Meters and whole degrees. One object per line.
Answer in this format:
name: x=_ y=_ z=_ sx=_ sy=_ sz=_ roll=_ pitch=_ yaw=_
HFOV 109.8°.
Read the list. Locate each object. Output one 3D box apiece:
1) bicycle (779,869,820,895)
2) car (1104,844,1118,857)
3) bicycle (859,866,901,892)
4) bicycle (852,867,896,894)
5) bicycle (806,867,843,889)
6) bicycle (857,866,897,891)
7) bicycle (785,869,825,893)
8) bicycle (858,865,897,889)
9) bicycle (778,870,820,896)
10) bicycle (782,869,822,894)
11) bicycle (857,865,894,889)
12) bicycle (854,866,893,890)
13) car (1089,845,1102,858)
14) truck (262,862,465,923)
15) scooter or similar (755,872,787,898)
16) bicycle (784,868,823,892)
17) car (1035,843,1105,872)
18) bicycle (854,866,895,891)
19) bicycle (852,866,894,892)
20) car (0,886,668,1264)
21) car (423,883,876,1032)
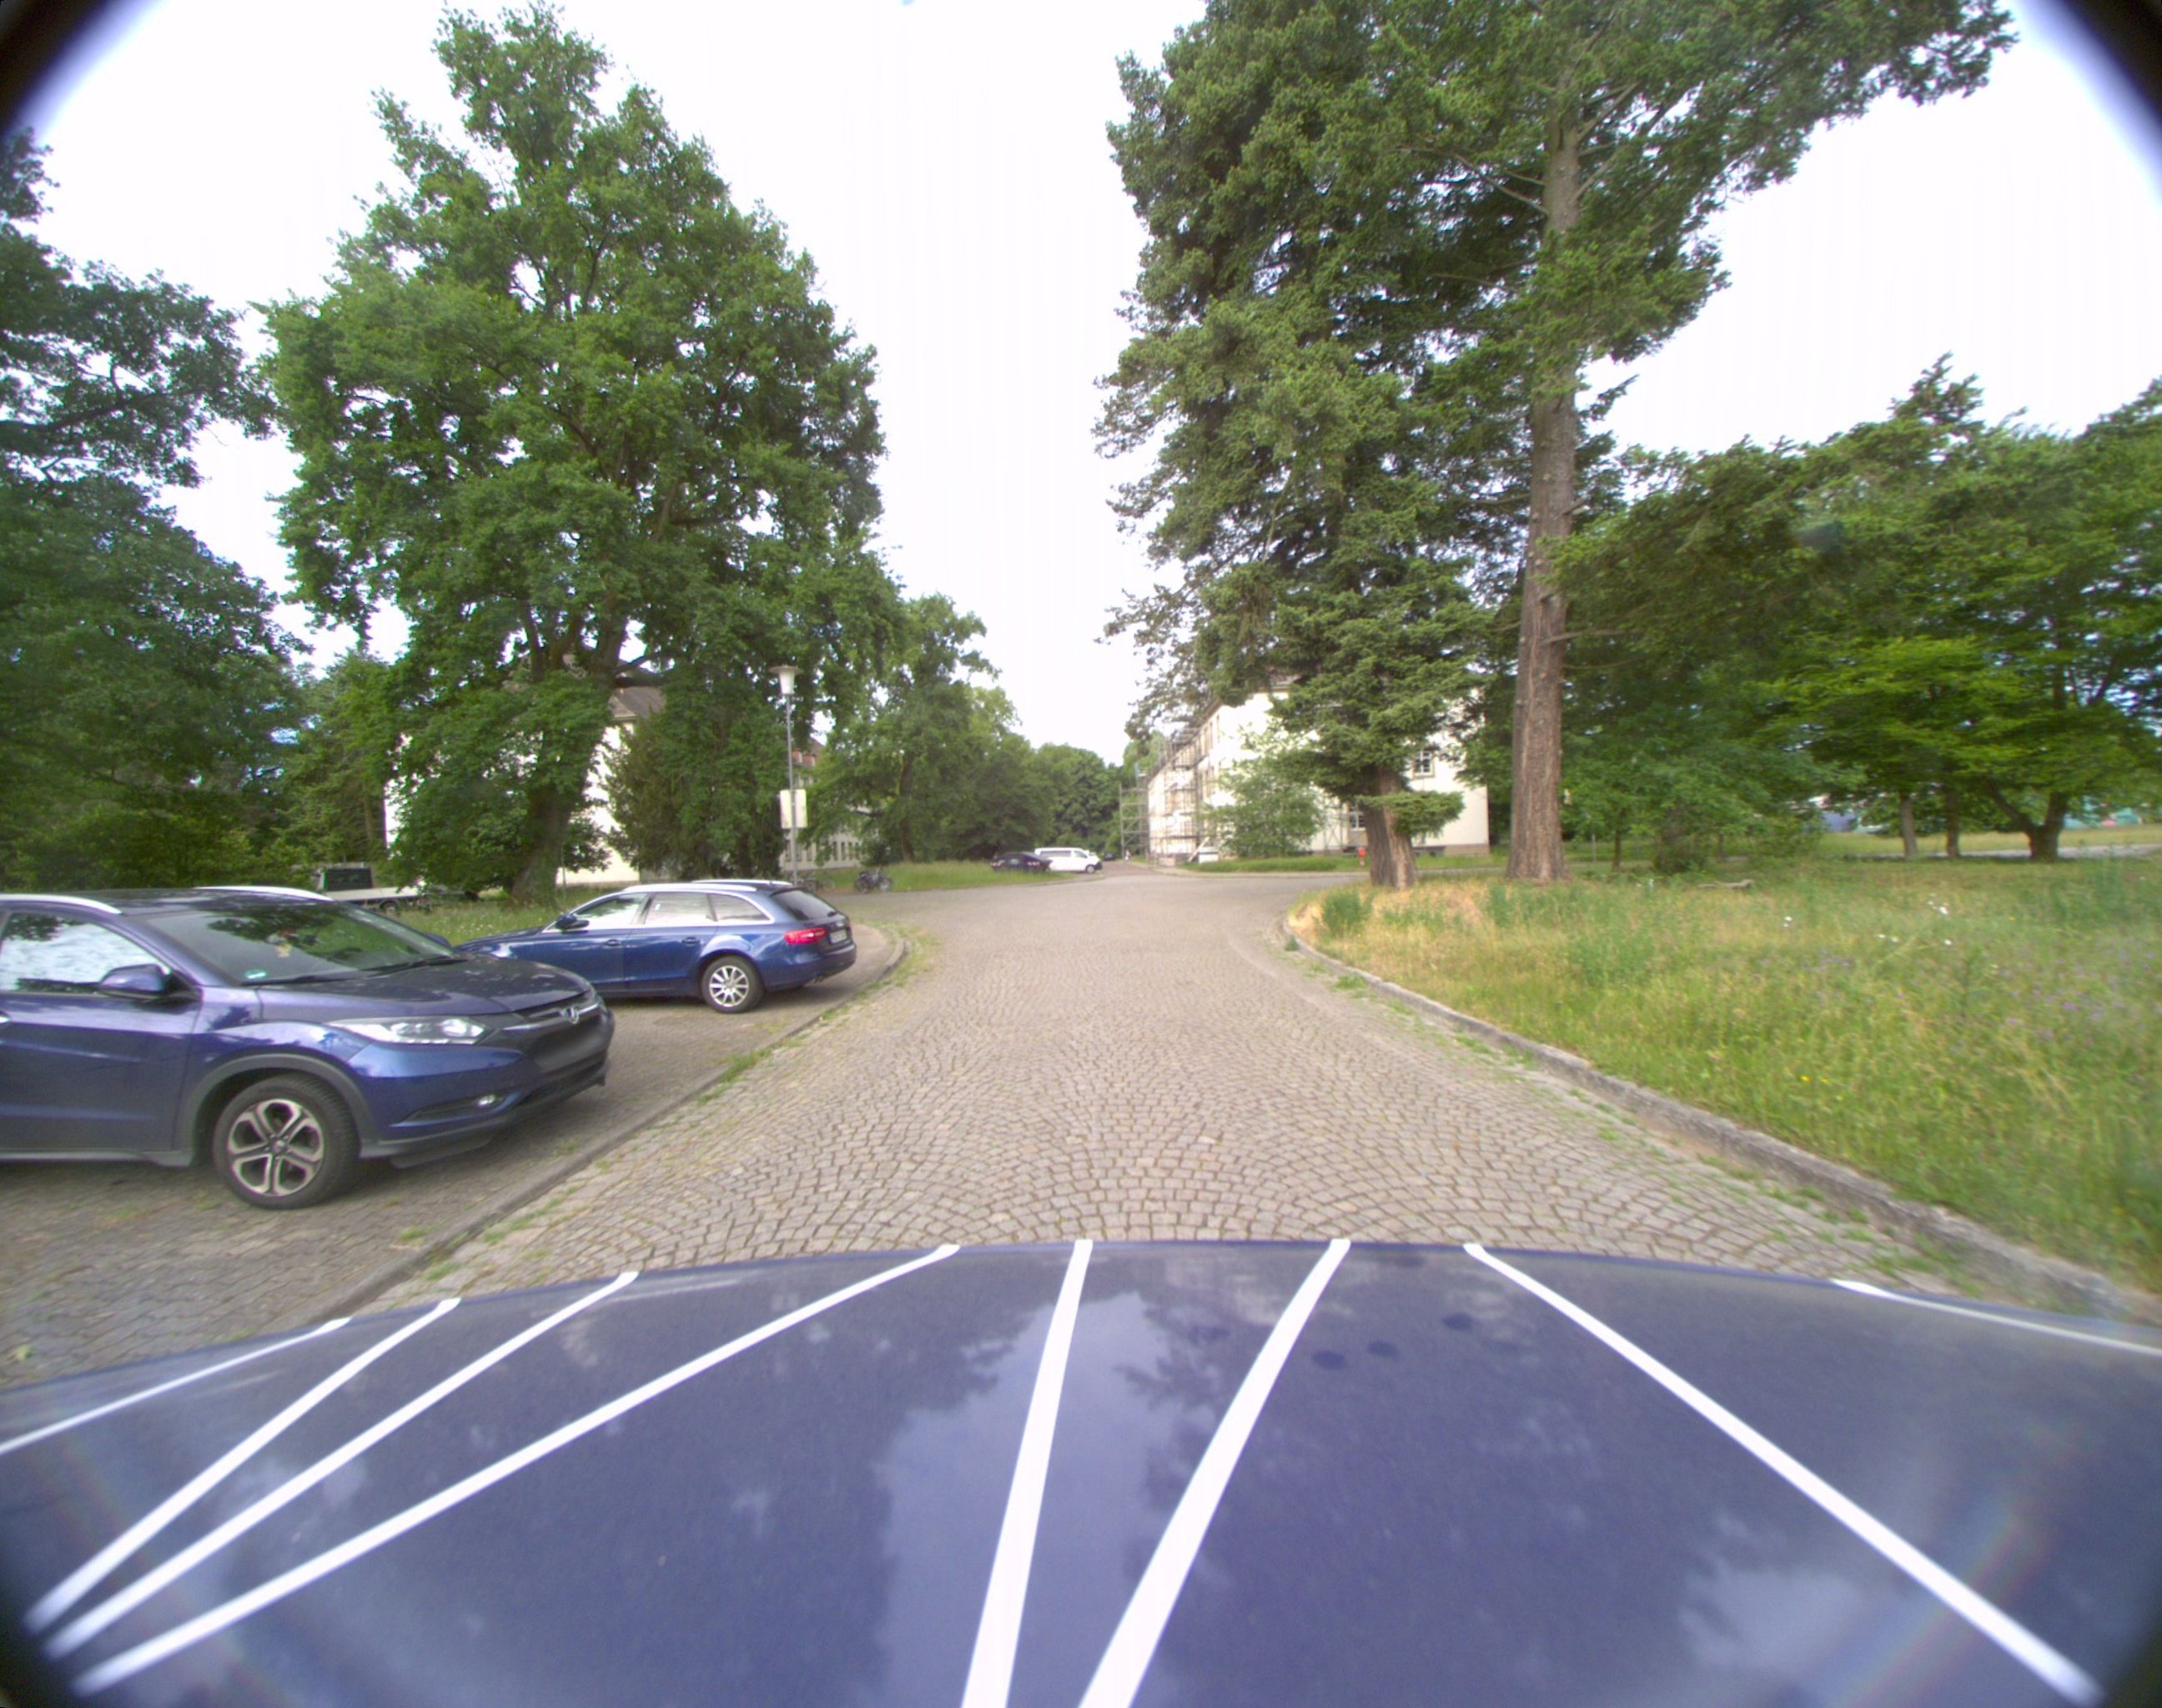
bicycle: x=-14.294 y=1.415 z=38.557 sx=1.861 sy=1.163 sz=0.487 roll=-3 pitch=1 yaw=-25
car: x=4.945 y=-0.531 z=124.372 sx=1.962 sy=2.002 sz=4.259 roll=-2 pitch=1 yaw=-1
bicycle: x=-10.121 y=1.264 z=38.294 sx=1.942 sy=1.163 sz=0.487 roll=-5 pitch=2 yaw=-27
bicycle: x=-10.237 y=1.282 z=37.617 sx=1.942 sy=1.163 sz=0.487 roll=-5 pitch=2 yaw=-27
bicycle: x=-14.353 y=1.327 z=42.556 sx=1.860 sy=1.163 sz=0.488 roll=-1 pitch=1 yaw=-9
bicycle: x=-10.895 y=1.285 z=40.609 sx=1.941 sy=1.163 sz=0.487 roll=-4 pitch=1 yaw=-22
bicycle: x=-14.557 y=1.413 z=40.037 sx=1.862 sy=1.163 sz=0.487 roll=-3 pitch=1 yaw=-28
bicycle: x=-11.265 y=1.274 z=42.078 sx=1.941 sy=1.163 sz=0.487 roll=-4 pitch=1 yaw=-22
bicycle: x=-14.095 y=1.435 z=37.989 sx=1.861 sy=1.163 sz=0.487 roll=-3 pitch=1 yaw=-25
bicycle: x=-14.417 y=1.414 z=39.269 sx=1.861 sy=1.163 sz=0.487 roll=-3 pitch=1 yaw=-21
bicycle: x=-11.697 y=1.301 z=43.318 sx=1.940 sy=1.163 sz=0.537 roll=-4 pitch=1 yaw=-16
bicycle: x=-11.337 y=1.302 z=41.466 sx=1.941 sy=1.163 sz=0.487 roll=-4 pitch=1 yaw=-22
car: x=2.409 y=-0.421 z=124.142 sx=1.962 sy=2.002 sz=4.259 roll=-2 pitch=1 yaw=-1
truck: x=-31.713 y=1.655 z=33.722 sx=7.082 sy=2.352 sz=1.993 roll=-2 pitch=0 yaw=0
scooter or similar: x=-15.189 y=1.518 z=37.214 sx=1.308 sy=1.163 sz=0.413 roll=-4 pitch=1 yaw=-1
bicycle: x=-15.138 y=1.394 z=41.431 sx=1.862 sy=1.163 sz=0.487 roll=-3 pitch=1 yaw=-28
car: x=-0.805 y=0.271 z=57.988 sx=5.149 sy=2.002 sz=2.000 roll=-2 pitch=1 yaw=0
bicycle: x=-10.802 y=1.289 z=39.829 sx=1.941 sy=1.163 sz=0.487 roll=-5 pitch=1 yaw=-25
bicycle: x=-10.744 y=1.293 z=39.215 sx=1.941 sy=1.163 sz=0.487 roll=-5 pitch=1 yaw=-25
car: x=-5.114 y=1.103 z=4.474 sx=4.256 sy=1.613 sz=1.886 roll=-2 pitch=1 yaw=-1
car: x=-4.969 y=1.174 z=9.216 sx=4.367 sy=1.431 sz=1.927 roll=-2 pitch=1 yaw=2
